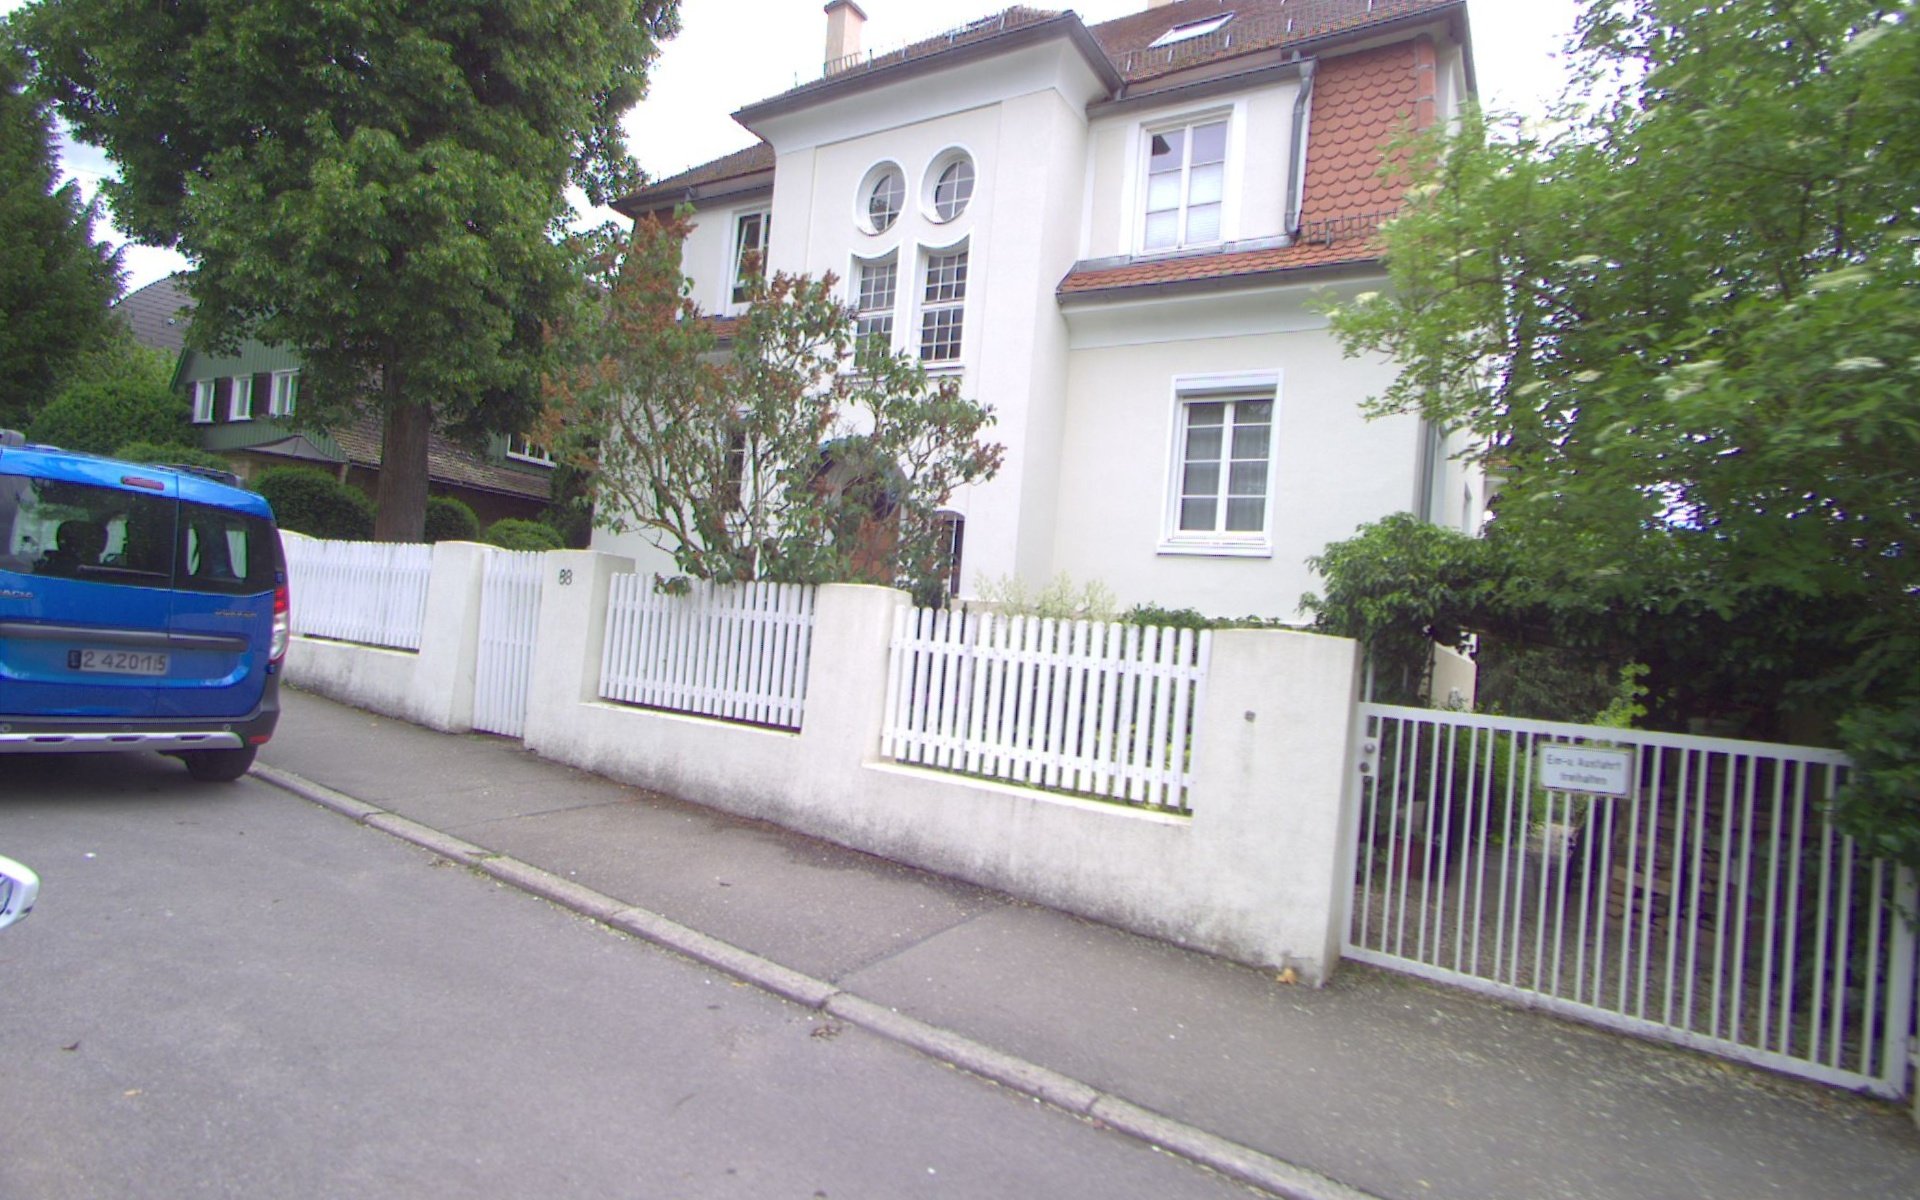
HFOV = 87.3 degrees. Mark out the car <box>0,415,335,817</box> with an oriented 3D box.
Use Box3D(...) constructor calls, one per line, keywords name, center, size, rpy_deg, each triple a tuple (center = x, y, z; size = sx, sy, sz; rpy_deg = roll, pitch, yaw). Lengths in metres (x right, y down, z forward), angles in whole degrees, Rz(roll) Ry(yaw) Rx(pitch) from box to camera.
Box3D(name="car", center=(-5.917, -0.064, 6.143), size=(4.087, 1.849, 1.687), rpy_deg=(7, -3, 31))
